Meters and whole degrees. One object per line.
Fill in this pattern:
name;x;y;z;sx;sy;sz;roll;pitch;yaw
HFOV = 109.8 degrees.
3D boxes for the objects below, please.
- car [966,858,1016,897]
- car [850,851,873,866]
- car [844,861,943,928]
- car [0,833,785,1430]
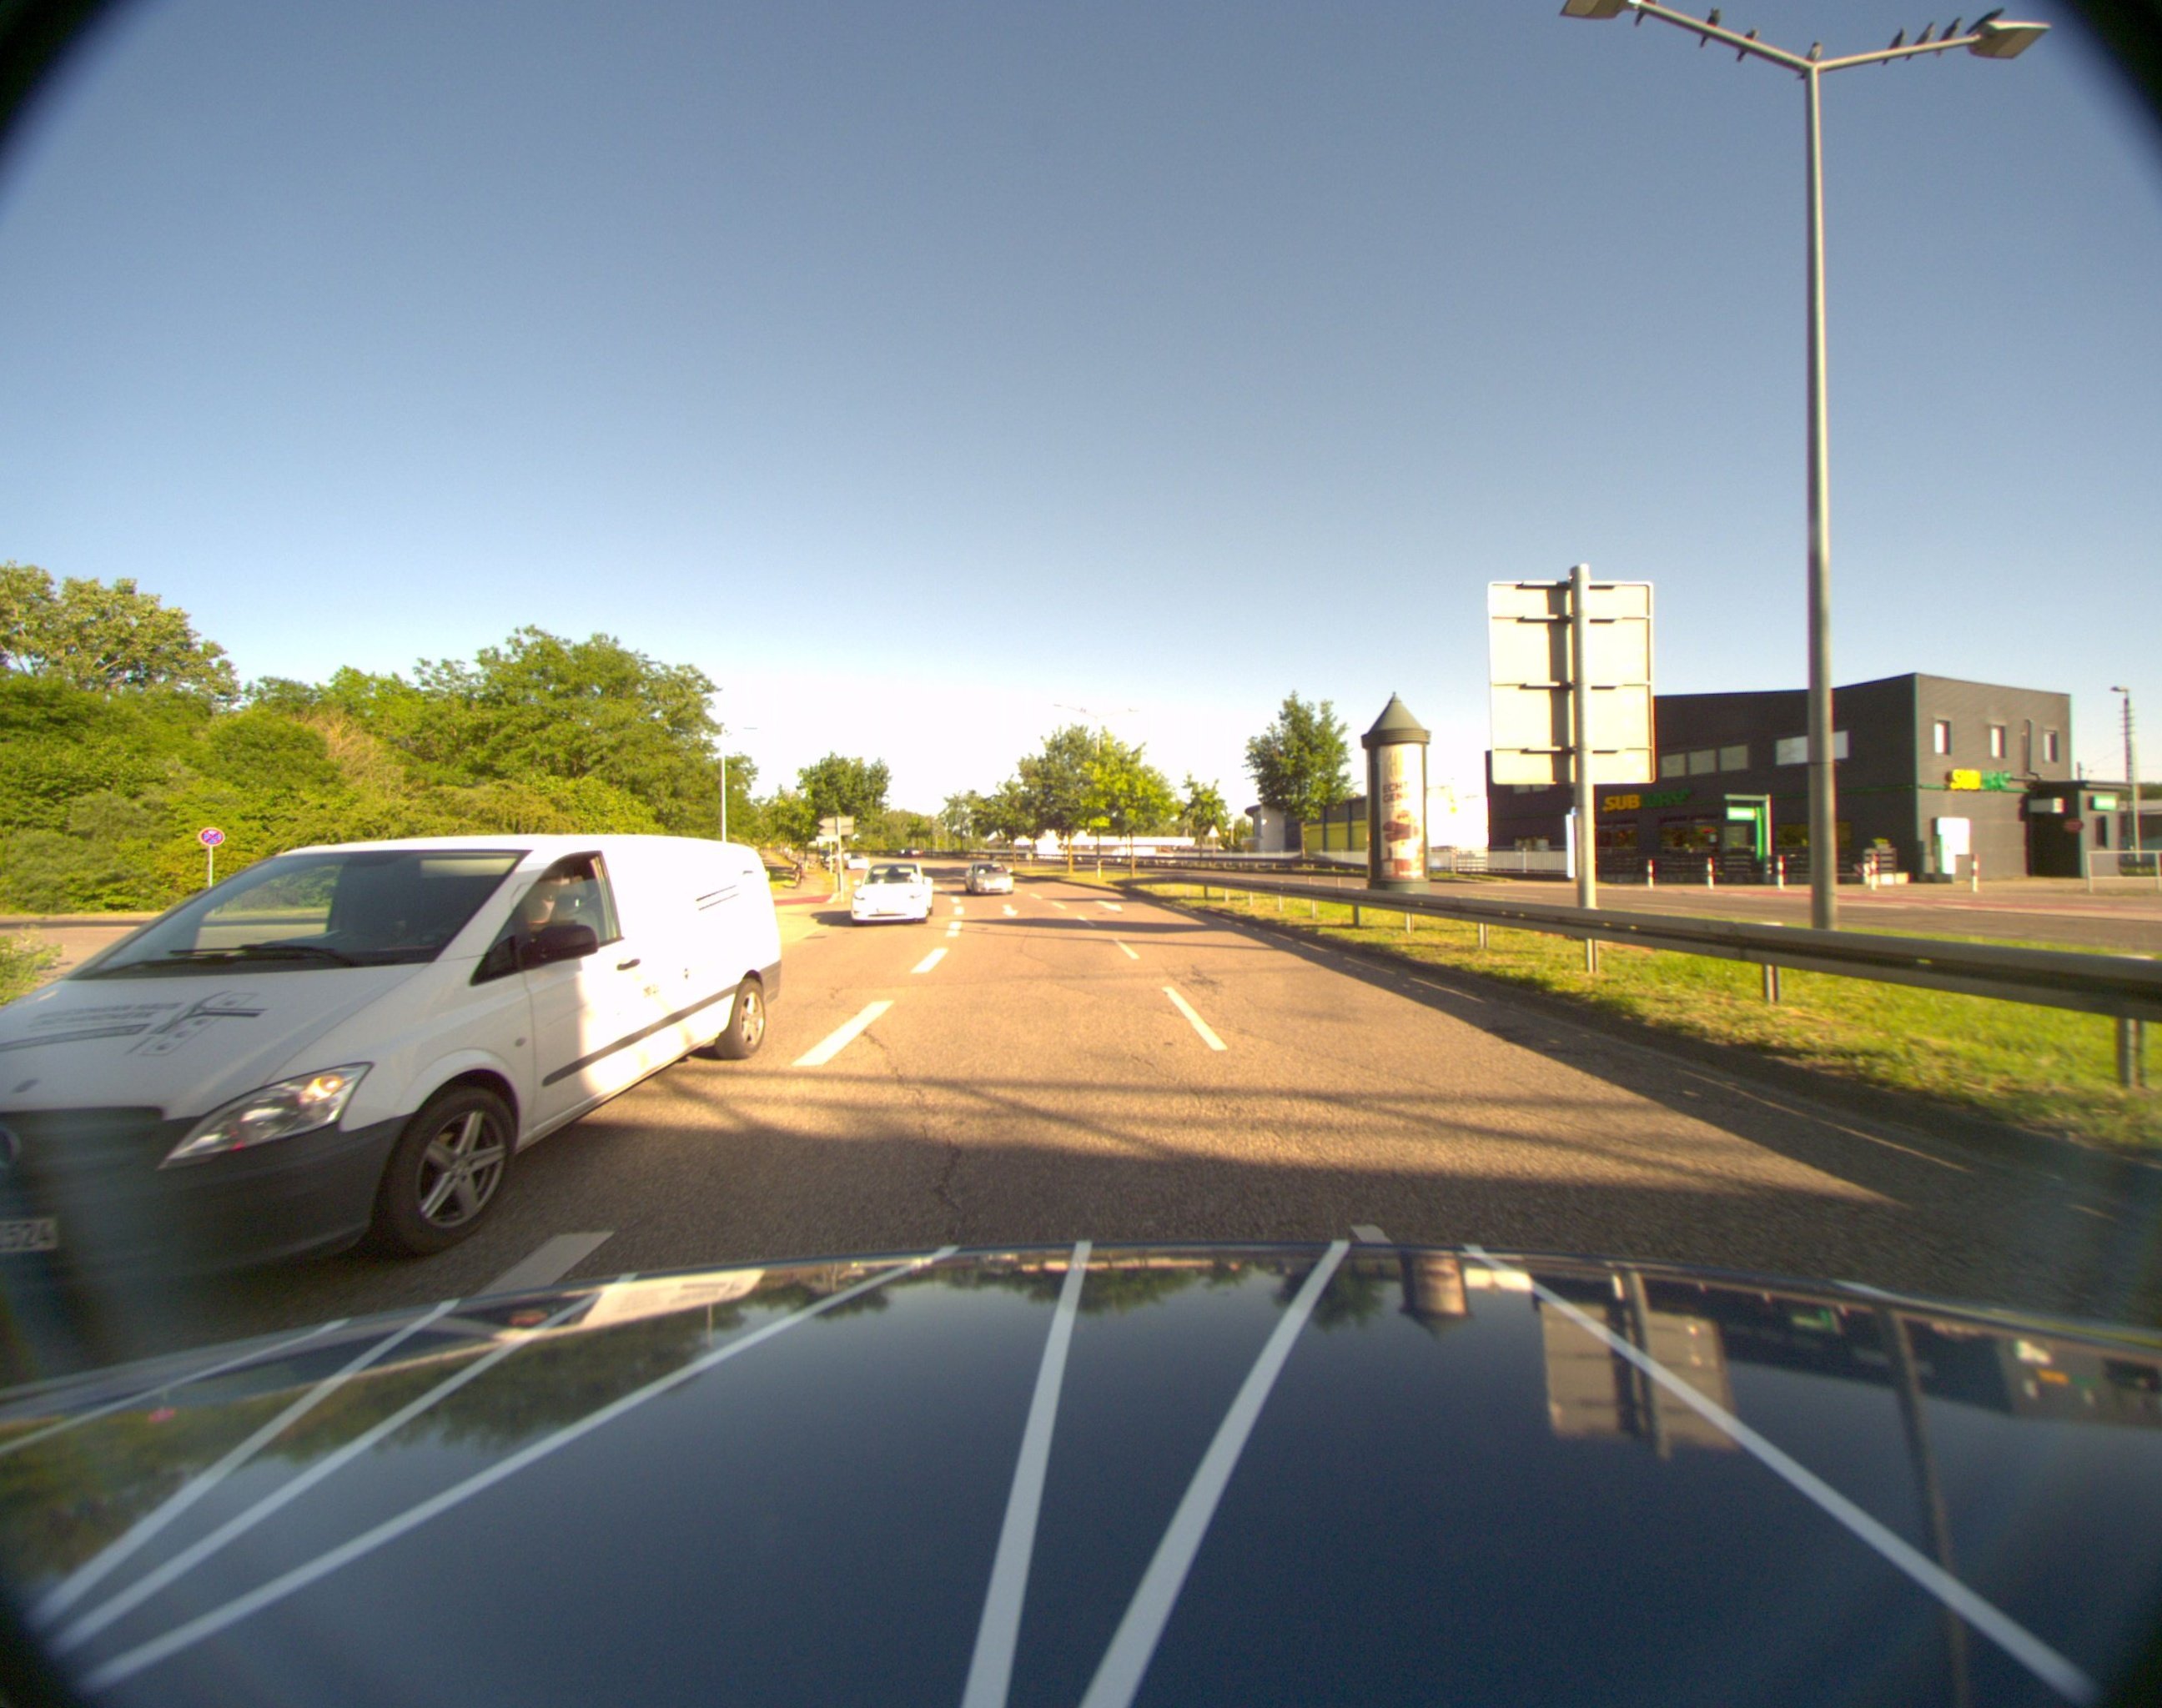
car;-4.141;1.002;34.426;1.702;1.447;4.392;-2;2;-13
car;-21.588;0.416;74.602;1.775;1.434;3.992;-1;1;-22
car;-5.081;1.038;21.220;1.999;1.542;4.418;-2;1;-5
car;-3.685;0.925;4.761;1.903;1.825;4.835;-2;-1;-2
